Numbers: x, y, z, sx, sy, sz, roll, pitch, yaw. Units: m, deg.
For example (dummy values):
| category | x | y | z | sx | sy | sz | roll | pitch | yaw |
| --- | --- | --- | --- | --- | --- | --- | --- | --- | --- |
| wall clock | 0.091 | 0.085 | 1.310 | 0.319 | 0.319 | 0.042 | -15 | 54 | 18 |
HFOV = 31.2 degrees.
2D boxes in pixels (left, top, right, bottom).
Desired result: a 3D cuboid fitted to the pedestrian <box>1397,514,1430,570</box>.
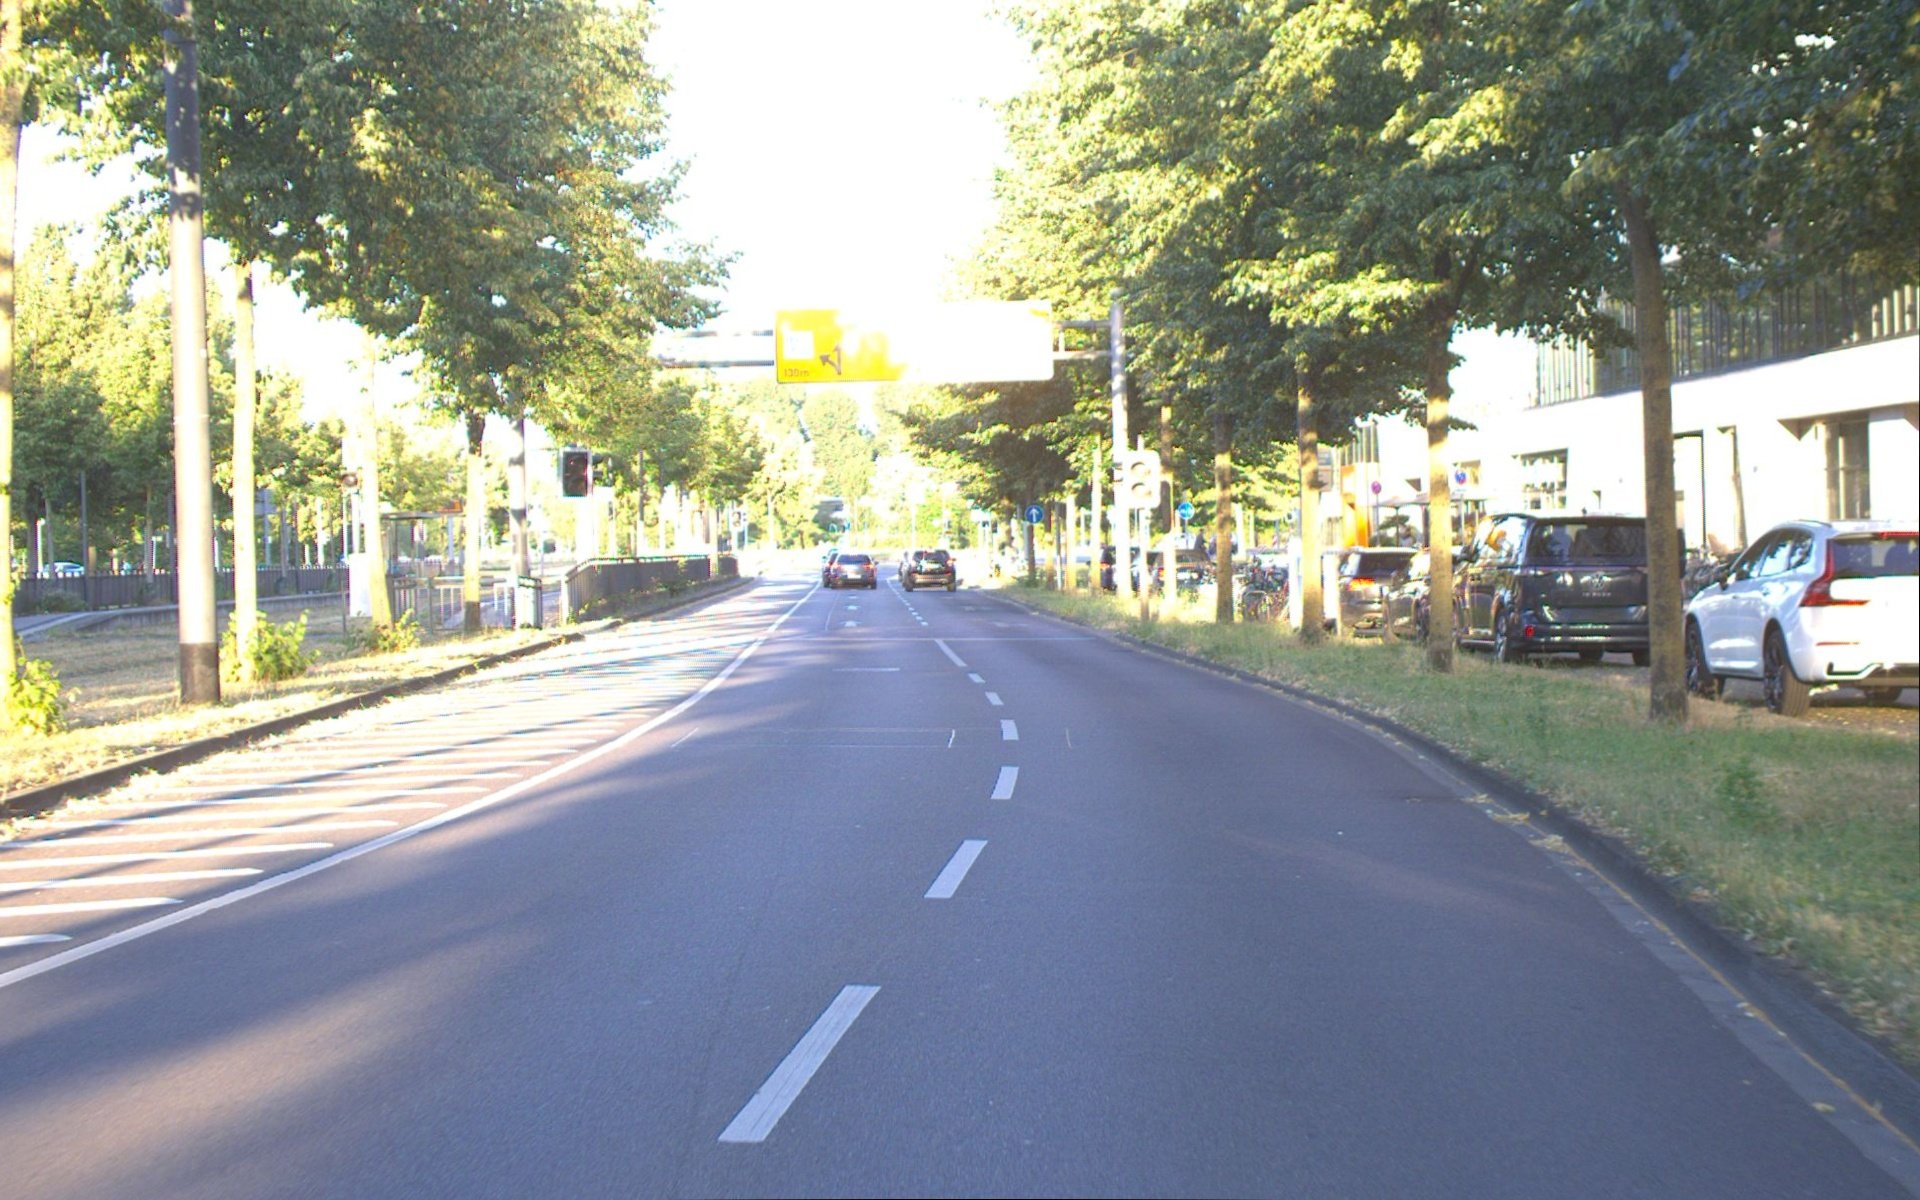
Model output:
| category | x | y | z | sx | sy | sz | roll | pitch | yaw |
| --- | --- | --- | --- | --- | --- | --- | --- | --- | --- |
| pedestrian | 13.951 | -1.785 | 105.770 | 0.703 | 1.731 | 0.689 | -1 | 1 | -32 |

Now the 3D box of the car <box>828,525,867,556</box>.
| category | x | y | z | sx | sy | sz | roll | pitch | yaw |
| --- | --- | --- | --- | --- | --- | --- | --- | --- | --- |
| car | -5.712 | -3.010 | 174.028 | 1.911 | 1.481 | 4.000 | -1 | 1 | -2 |

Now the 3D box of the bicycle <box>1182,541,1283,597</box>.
| category | x | y | z | sx | sy | sz | roll | pitch | yaw |
| --- | --- | --- | --- | --- | --- | --- | --- | --- | --- |
| bicycle | 5.478 | -0.624 | 69.064 | 1.941 | 1.050 | 0.348 | 2 | 1 | -9 |

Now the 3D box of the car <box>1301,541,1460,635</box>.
| category | x | y | z | sx | sy | sz | roll | pitch | yaw |
| --- | --- | --- | --- | --- | --- | --- | --- | --- | --- |
| car | 6.670 | -0.218 | 54.952 | 1.869 | 1.406 | 4.646 | -1 | 1 | -1 |

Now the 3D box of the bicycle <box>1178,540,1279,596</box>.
| category | x | y | z | sx | sy | sz | roll | pitch | yaw |
| --- | --- | --- | --- | --- | --- | --- | --- | --- | --- |
| bicycle | 5.427 | -0.642 | 69.518 | 1.941 | 1.050 | 0.414 | 2 | 1 | -9 |

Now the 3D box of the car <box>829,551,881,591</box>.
| category | x | y | z | sx | sy | sz | roll | pitch | yaw |
| --- | --- | --- | --- | --- | --- | --- | --- | --- | --- |
| car | -4.053 | -1.120 | 132.186 | 1.911 | 1.481 | 4.000 | -1 | 1 | -2 |

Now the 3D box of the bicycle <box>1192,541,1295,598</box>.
| category | x | y | z | sx | sy | sz | roll | pitch | yaw |
| --- | --- | --- | --- | --- | --- | --- | --- | --- | --- |
| bicycle | 5.628 | -0.605 | 68.288 | 1.941 | 1.050 | 0.409 | 2 | 1 | -9 |

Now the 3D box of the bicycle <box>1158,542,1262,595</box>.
| category | x | y | z | sx | sy | sz | roll | pitch | yaw |
| --- | --- | --- | --- | --- | --- | --- | --- | --- | --- |
| bicycle | 5.382 | -0.687 | 74.013 | 2.142 | 1.050 | 0.525 | 2 | 1 | -8 |

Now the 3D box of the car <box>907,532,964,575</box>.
| category | x | y | z | sx | sy | sz | roll | pitch | yaw |
| --- | --- | --- | --- | --- | --- | --- | --- | --- | --- |
| car | -0.905 | -1.673 | 123.724 | 1.911 | 1.481 | 4.000 | -1 | 1 | -2 |

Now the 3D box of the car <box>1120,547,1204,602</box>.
| category | x | y | z | sx | sy | sz | roll | pitch | yaw |
| --- | --- | --- | --- | --- | --- | --- | --- | --- | --- |
| car | 5.545 | -0.712 | 94.797 | 1.777 | 1.467 | 4.289 | -1 | 1 | -3 |

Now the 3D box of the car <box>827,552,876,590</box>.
| category | x | y | z | sx | sy | sz | roll | pitch | yaw |
| --- | --- | --- | --- | --- | --- | --- | --- | --- | --- |
| car | -4.408 | -1.195 | 138.656 | 1.911 | 1.481 | 4.000 | -1 | 1 | -2 |

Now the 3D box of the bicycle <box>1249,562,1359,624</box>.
| category | x | y | z | sx | sy | sz | roll | pitch | yaw |
| --- | --- | --- | --- | --- | --- | --- | --- | --- | --- |
| bicycle | 6.416 | -0.132 | 64.074 | 1.941 | 1.050 | 0.545 | 2 | 1 | -2 |

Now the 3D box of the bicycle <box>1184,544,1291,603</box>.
| category | x | y | z | sx | sy | sz | roll | pitch | yaw |
| --- | --- | --- | --- | --- | --- | --- | --- | --- | --- |
| bicycle | 5.375 | -0.513 | 66.628 | 1.941 | 1.050 | 0.545 | 2 | 1 | -12 |

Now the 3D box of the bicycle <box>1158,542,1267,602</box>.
| category | x | y | z | sx | sy | sz | roll | pitch | yaw |
| --- | --- | --- | --- | --- | --- | --- | --- | --- | --- |
| bicycle | 4.785 | -0.534 | 65.103 | 1.941 | 1.050 | 0.545 | 2 | 1 | -16 |

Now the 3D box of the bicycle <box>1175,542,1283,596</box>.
| category | x | y | z | sx | sy | sz | roll | pitch | yaw |
| --- | --- | --- | --- | --- | --- | --- | --- | --- | --- |
| bicycle | 5.648 | -0.654 | 72.118 | 2.142 | 1.050 | 0.571 | 2 | 1 | -8 |

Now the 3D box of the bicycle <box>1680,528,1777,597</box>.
| category | x | y | z | sx | sy | sz | roll | pitch | yaw |
| --- | --- | --- | --- | --- | --- | --- | --- | --- | --- |
| bicycle | 15.607 | -0.765 | 69.790 | 1.830 | 1.352 | 0.503 | -1 | 1 | -4 |

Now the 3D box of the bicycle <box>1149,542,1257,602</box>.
| category | x | y | z | sx | sy | sz | roll | pitch | yaw |
| --- | --- | --- | --- | --- | --- | --- | --- | --- | --- |
| bicycle | 4.642 | -0.538 | 65.700 | 1.941 | 1.050 | 0.545 | 2 | 1 | -16 |

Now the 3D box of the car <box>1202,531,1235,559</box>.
| category | x | y | z | sx | sy | sz | roll | pitch | yaw |
| --- | --- | --- | --- | --- | --- | --- | --- | --- | --- |
| car | 16.850 | -3.585 | 224.288 | 1.993 | 1.722 | 4.000 | -1 | 1 | 2 |

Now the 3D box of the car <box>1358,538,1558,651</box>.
| category | x | y | z | sx | sy | sz | roll | pitch | yaw |
| --- | --- | --- | --- | --- | --- | --- | --- | --- | --- |
| car | 6.892 | -0.102 | 48.034 | 1.809 | 1.466 | 4.666 | -1 | 1 | -4 |

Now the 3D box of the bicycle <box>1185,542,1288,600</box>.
| category | x | y | z | sx | sy | sz | roll | pitch | yaw |
| --- | --- | --- | --- | --- | --- | --- | --- | --- | --- |
| bicycle | 5.461 | -0.573 | 67.806 | 1.941 | 1.050 | 0.409 | 2 | 1 | -9 |

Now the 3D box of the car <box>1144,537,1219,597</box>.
| category | x | y | z | sx | sy | sz | roll | pitch | yaw |
| --- | --- | --- | --- | --- | --- | --- | --- | --- | --- |
| car | 5.638 | -0.843 | 87.760 | 1.575 | 1.467 | 3.882 | -1 | 1 | -1 |

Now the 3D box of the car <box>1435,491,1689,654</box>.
| category | x | y | z | sx | sy | sz | roll | pitch | yaw |
| --- | --- | --- | --- | --- | --- | --- | --- | --- | --- |
| car | 7.282 | -0.353 | 42.073 | 1.993 | 1.845 | 4.666 | -1 | 1 | -4 |

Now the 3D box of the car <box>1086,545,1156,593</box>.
| category | x | y | z | sx | sy | sz | roll | pitch | yaw |
| --- | --- | --- | --- | --- | --- | --- | --- | --- | --- |
| car | 5.144 | -1.005 | 110.139 | 1.756 | 1.461 | 4.159 | -1 | 1 | -4 |

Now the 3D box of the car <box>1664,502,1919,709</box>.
| category | x | y | z | sx | sy | sz | roll | pitch | yaw |
| --- | --- | --- | --- | --- | --- | --- | --- | --- | --- |
| car | 7.667 | -0.004 | 29.879 | 1.993 | 1.637 | 4.879 | -1 | 1 | -1 |

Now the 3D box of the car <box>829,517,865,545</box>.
| category | x | y | z | sx | sy | sz | roll | pitch | yaw |
| --- | --- | --- | --- | --- | --- | --- | --- | --- | --- |
| car | -6.229 | -3.816 | 189.803 | 1.911 | 1.481 | 4.000 | -1 | 1 | -2 |
